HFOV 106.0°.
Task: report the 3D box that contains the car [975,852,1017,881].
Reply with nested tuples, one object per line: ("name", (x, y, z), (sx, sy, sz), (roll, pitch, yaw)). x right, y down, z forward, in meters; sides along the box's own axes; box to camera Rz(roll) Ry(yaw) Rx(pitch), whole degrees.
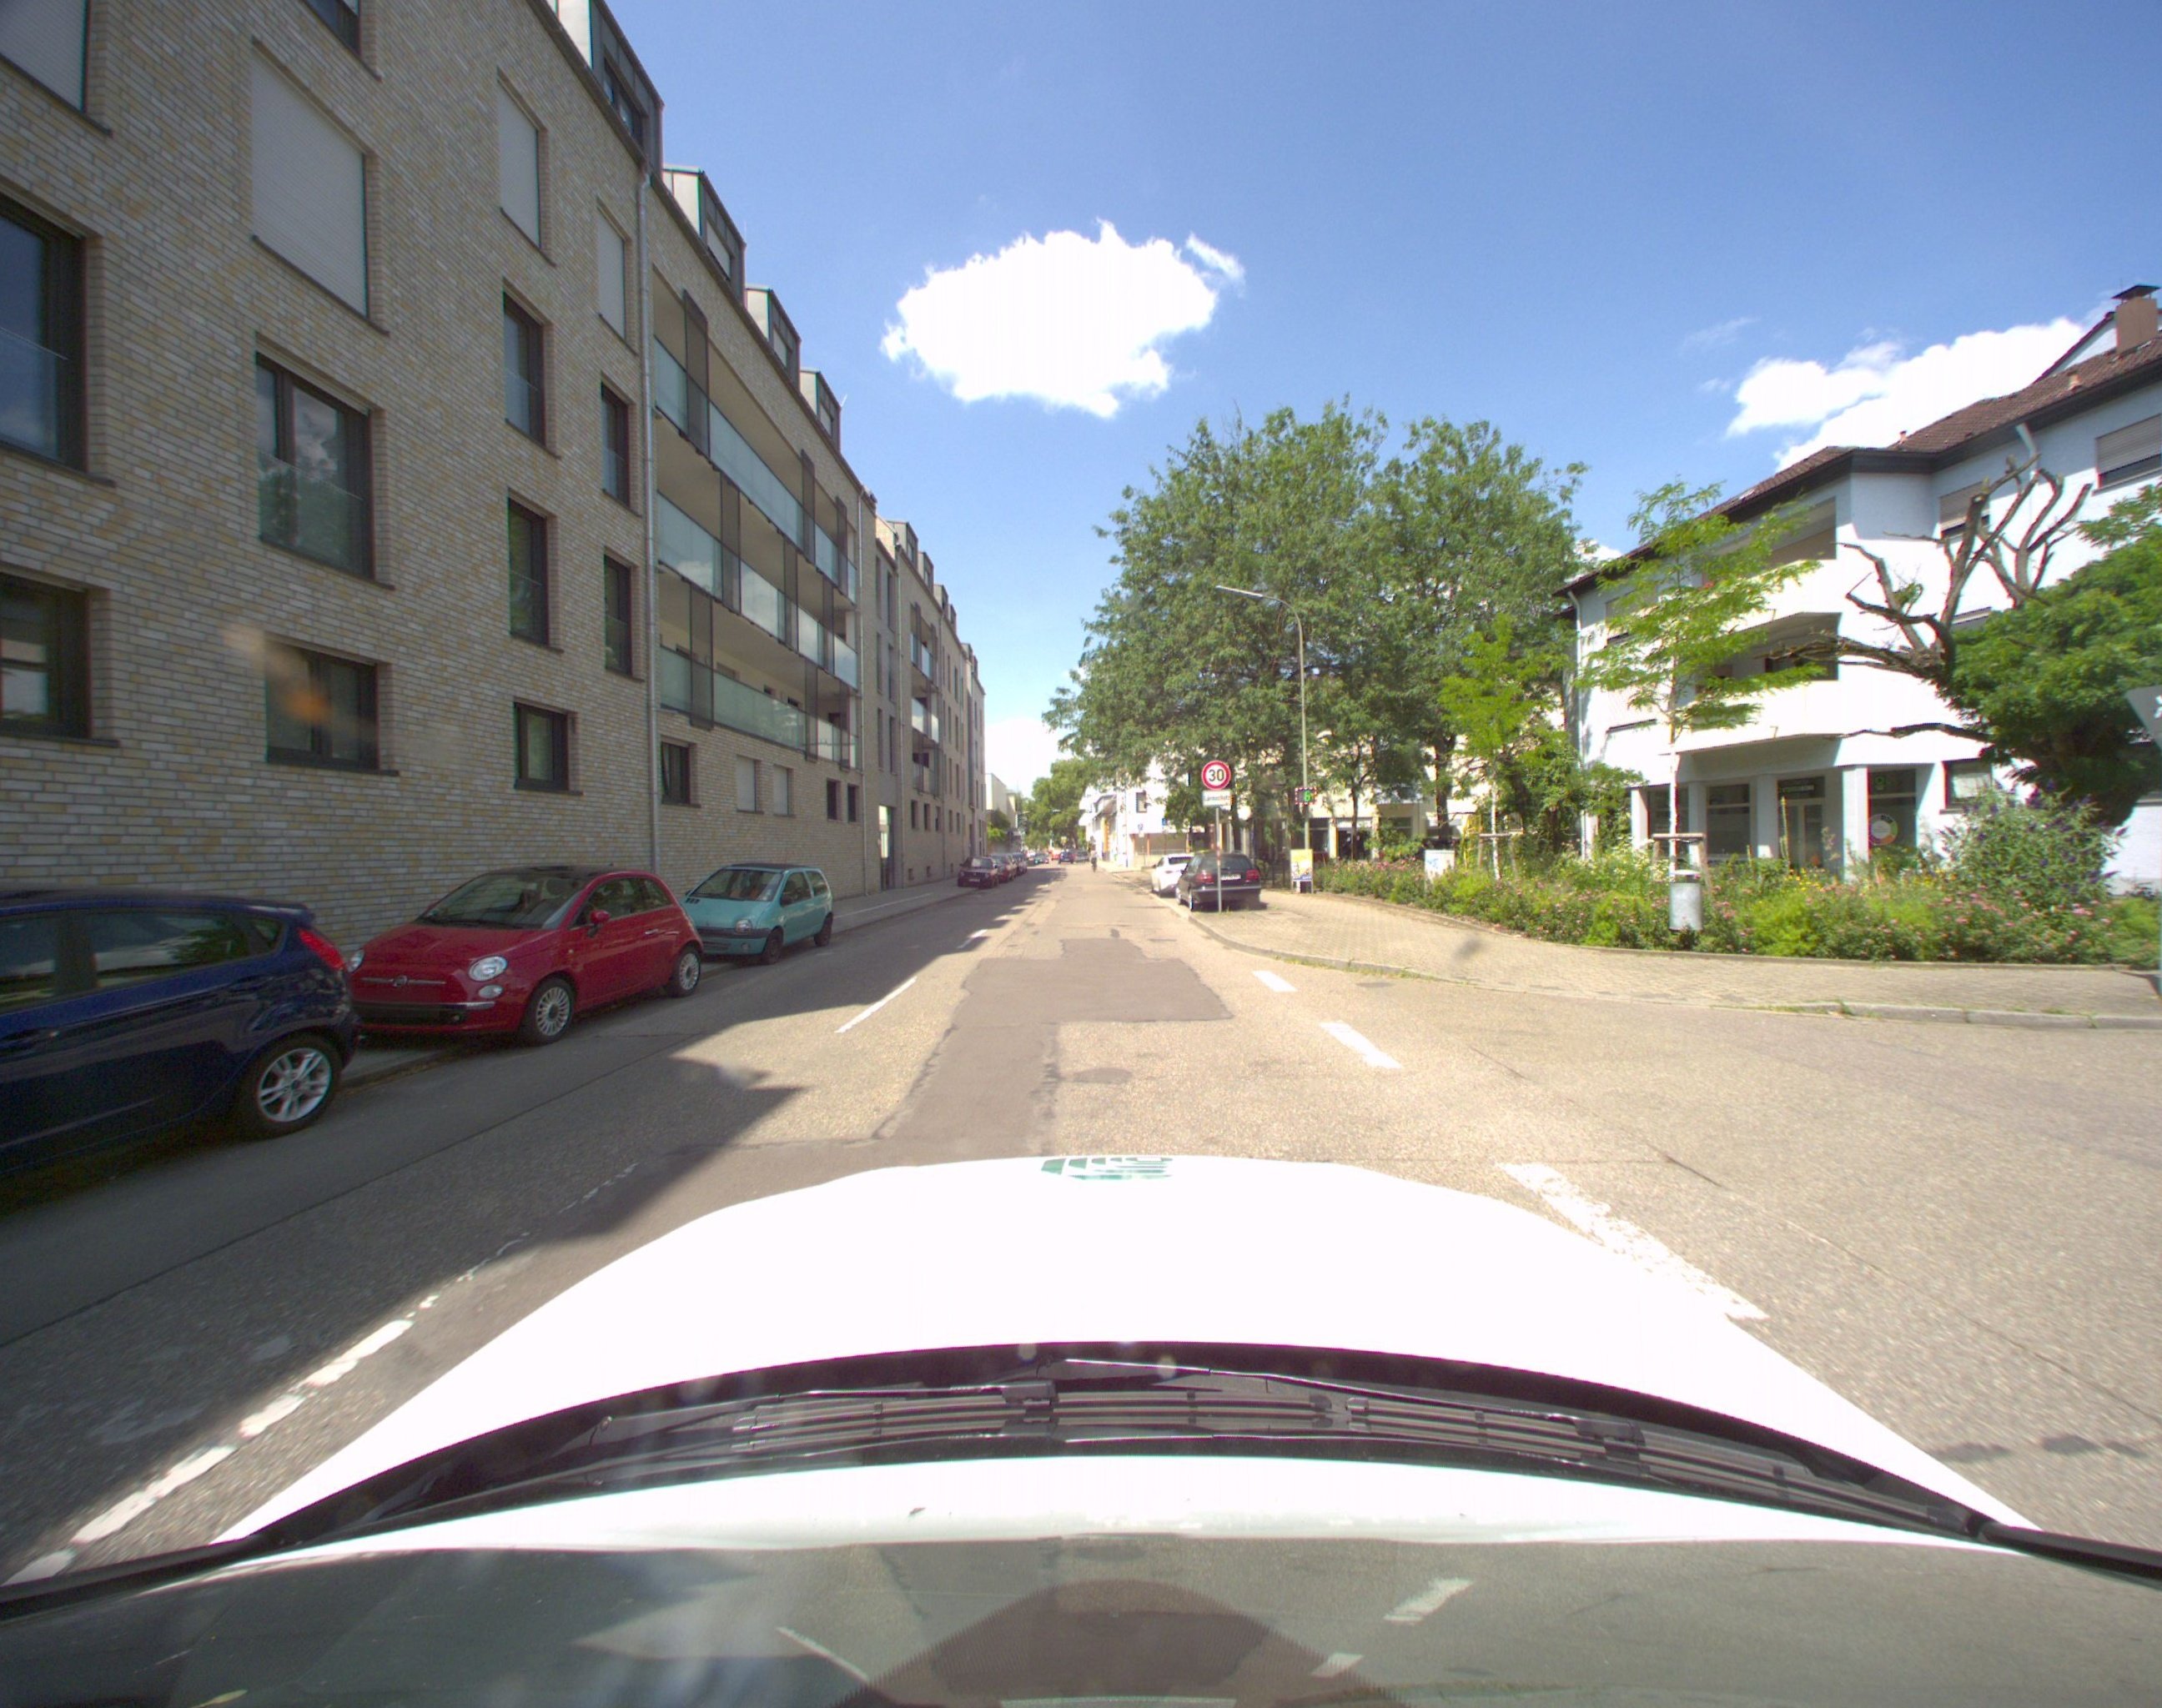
("car", (-4.496, 0.622, 43.579), (1.726, 1.442, 4.000), (-1, 0, 0))

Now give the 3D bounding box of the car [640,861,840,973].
("car", (-5.222, 0.880, 13.022), (1.585, 1.456, 3.704), (1, 0, 1))

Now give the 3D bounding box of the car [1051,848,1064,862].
("car", (-3.665, 0.150, 127.118), (1.833, 2.013, 3.999), (-1, 1, -1))

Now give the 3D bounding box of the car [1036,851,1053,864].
("car", (-4.507, 0.445, 100.332), (1.988, 1.519, 3.998), (-1, 1, -1))

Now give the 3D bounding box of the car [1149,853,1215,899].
("car", (3.384, 0.699, 27.888), (1.773, 1.420, 4.000), (-1, 0, 0))

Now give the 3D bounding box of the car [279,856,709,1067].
("car", (-5.287, 0.824, 7.992), (1.585, 1.554, 3.571), (-1, 0, 1))

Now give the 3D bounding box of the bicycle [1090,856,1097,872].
("bicycle", (0.908, 0.704, 58.424), (0.481, 1.114, 1.195), (-1, 0, 0))

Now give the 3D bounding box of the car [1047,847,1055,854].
("car", (-8.676, -1.026, 236.806), (2.151, 2.013, 3.997), (-1, 0, -2))

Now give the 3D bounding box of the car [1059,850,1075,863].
("car", (-1.590, 0.306, 95.892), (1.709, 1.402, 4.002), (-1, 1, 1))

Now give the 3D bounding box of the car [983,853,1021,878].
("car", (-4.852, 0.653, 50.323), (1.820, 1.420, 4.002), (1, 1, 2))

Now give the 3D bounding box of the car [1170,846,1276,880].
("car", (6.192, 0.389, 35.814), (4.361, 1.381, 2.001), (1, 0, 2))

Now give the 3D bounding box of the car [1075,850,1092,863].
("car", (0.300, 0.284, 103.847), (1.987, 1.618, 3.999), (-1, 0, -1))

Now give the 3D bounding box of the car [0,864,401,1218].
("car", (-5.437, 0.809, 3.398), (1.716, 1.456, 4.007), (0, 0, 2))

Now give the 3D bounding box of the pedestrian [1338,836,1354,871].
("pedestrian", (14.254, -0.046, 43.777), (0.589, 1.859, 0.607), (-1, 0, 42))

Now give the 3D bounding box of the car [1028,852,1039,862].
("car", (-9.674, 0.536, 167.528), (1.987, 2.013, 4.000), (-1, 0, 0))

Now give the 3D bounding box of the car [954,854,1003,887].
("car", (-4.775, 0.732, 38.504), (1.726, 1.442, 4.000), (-1, 0, 0))

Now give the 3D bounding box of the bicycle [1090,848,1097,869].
("bicycle", (0.903, 0.347, 58.446), (0.476, 1.490, 0.576), (-1, 0, 0))

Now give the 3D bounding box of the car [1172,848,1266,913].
("car", (3.475, 0.613, 21.168), (1.687, 1.420, 4.000), (-4, 0, 0))
